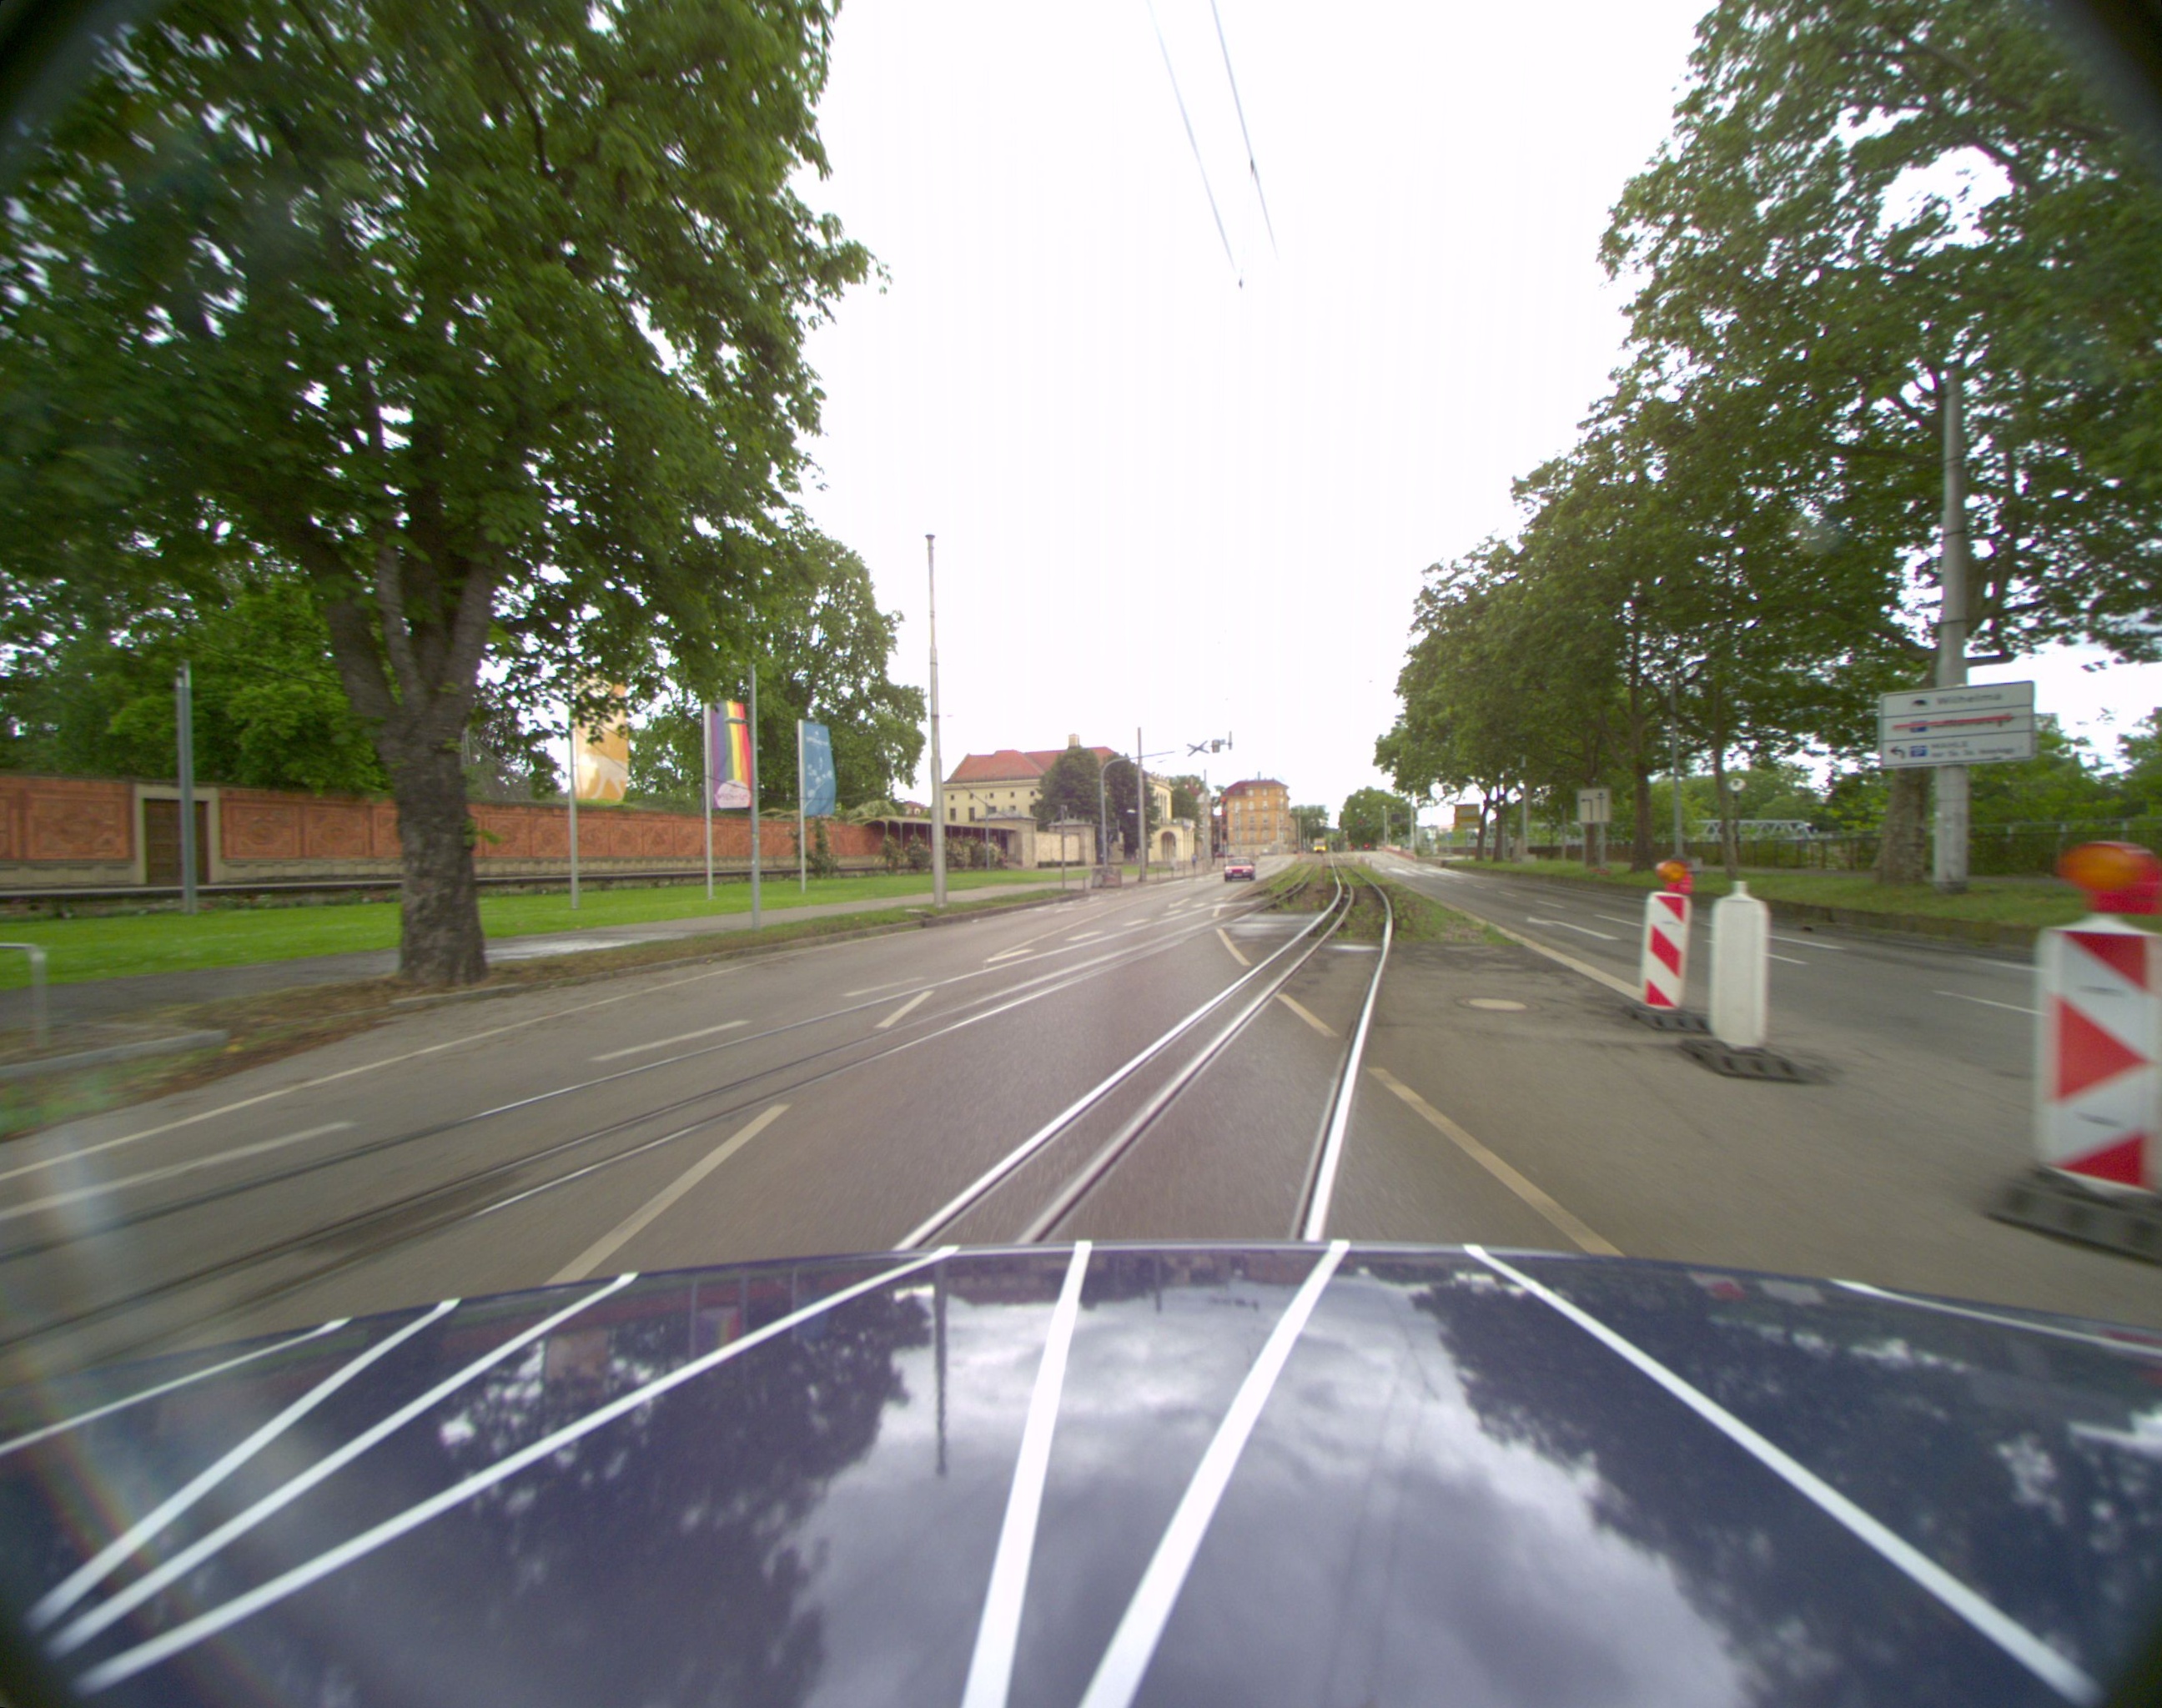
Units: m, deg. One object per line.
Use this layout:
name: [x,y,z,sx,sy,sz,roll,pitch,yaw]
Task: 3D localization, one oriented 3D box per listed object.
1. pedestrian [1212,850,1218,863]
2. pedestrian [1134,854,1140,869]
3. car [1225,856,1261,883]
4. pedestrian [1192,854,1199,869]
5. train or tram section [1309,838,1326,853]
pedestrian: [17.790,0.345,101.008,0.671,1.757,0.938,-1,1,18]
pedestrian: [6.943,0.885,93.780,0.595,1.782,0.809,-1,1,18]
car: [9.910,0.913,46.377,1.679,1.433,4.125,-3,-1,17]
pedestrian: [13.406,0.848,88.835,0.671,1.757,0.938,-1,1,18]
train or tram section: [58.067,-2.095,186.894,3.734,3.346,17.575,0,1,17]
